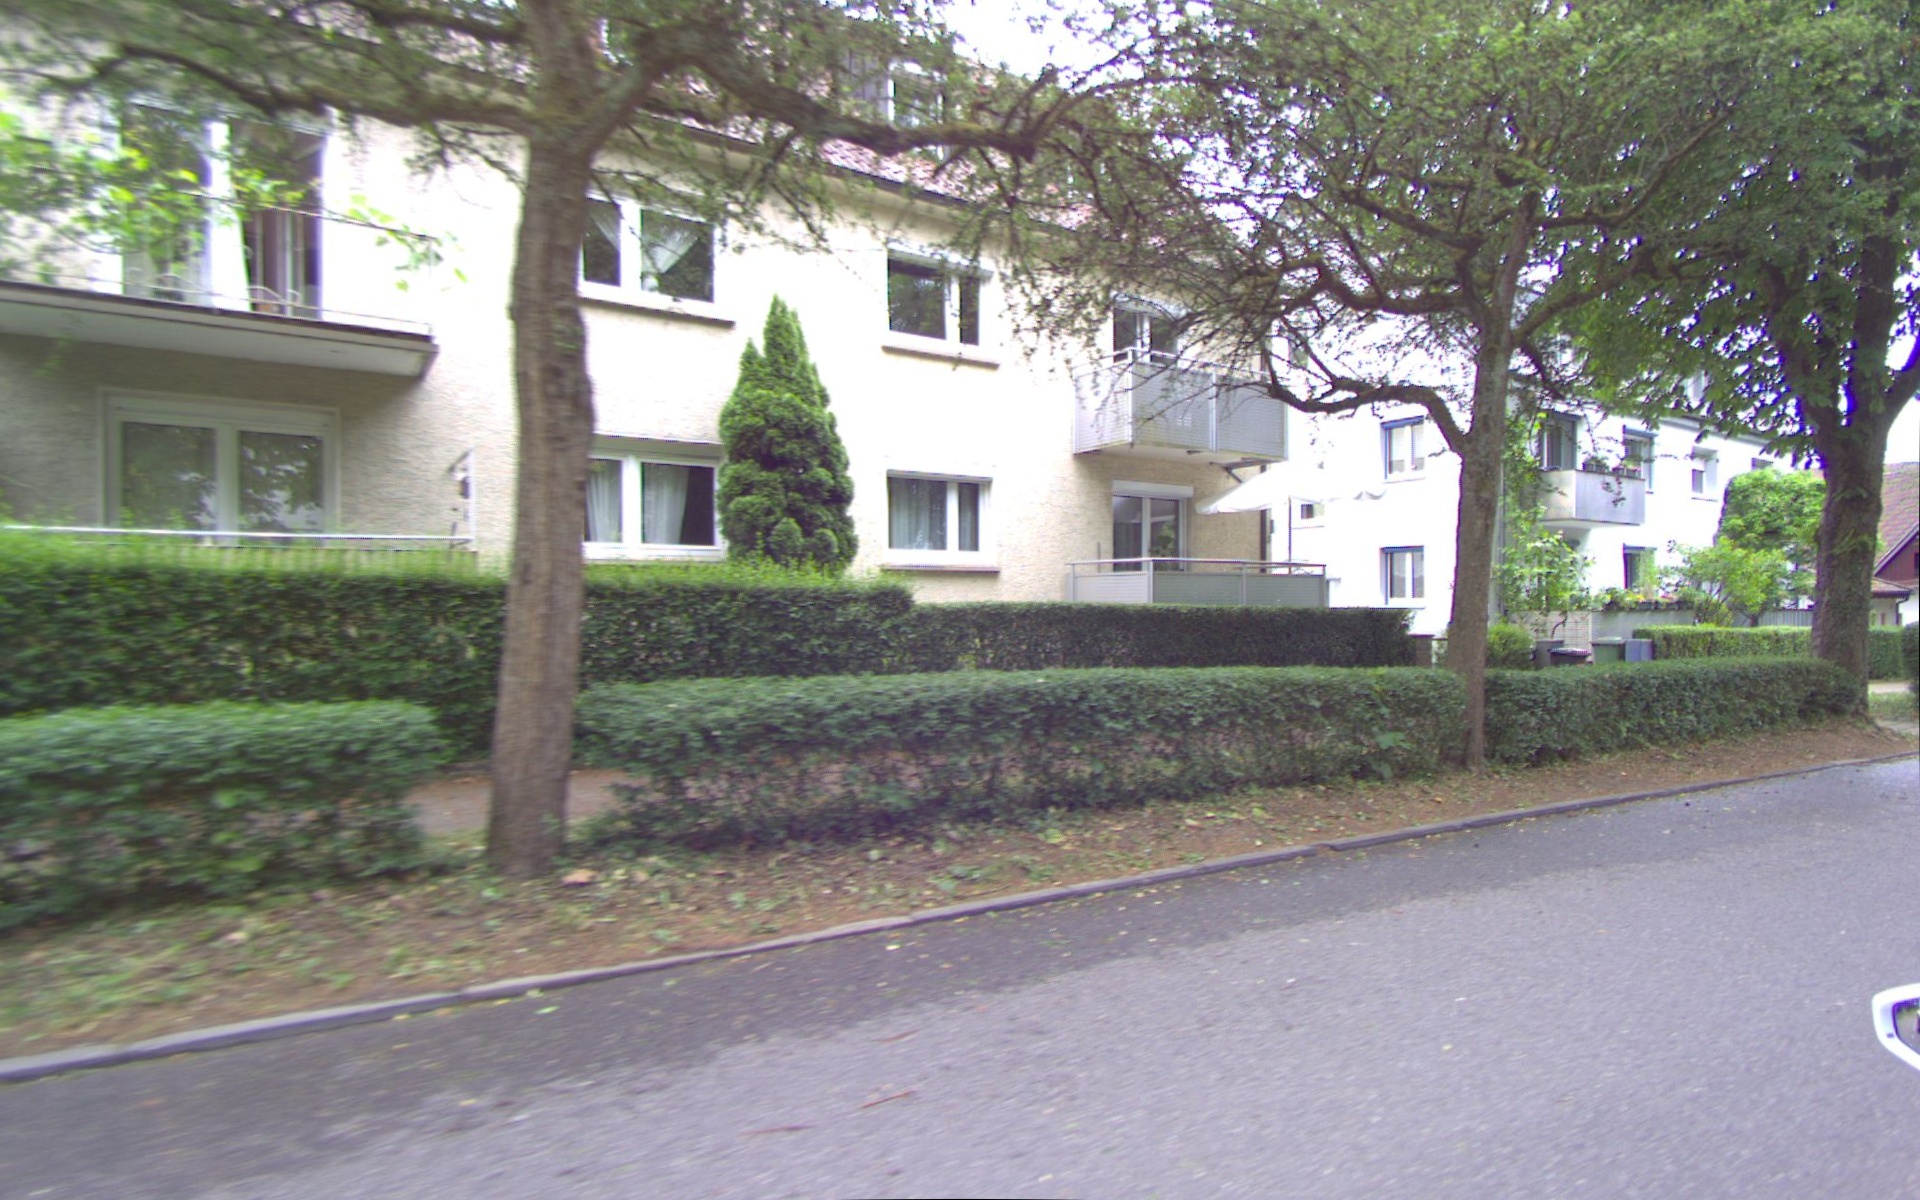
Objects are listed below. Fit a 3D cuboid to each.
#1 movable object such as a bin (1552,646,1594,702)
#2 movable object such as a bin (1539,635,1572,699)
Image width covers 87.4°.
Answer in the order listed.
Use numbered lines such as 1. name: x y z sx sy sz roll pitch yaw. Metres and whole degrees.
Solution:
1. movable object such as a bin: 10.342 1.243 16.957 0.504 0.927 0.452 2 -2 -37
2. movable object such as a bin: 10.466 1.177 17.652 0.402 1.103 0.378 2 -2 -36
